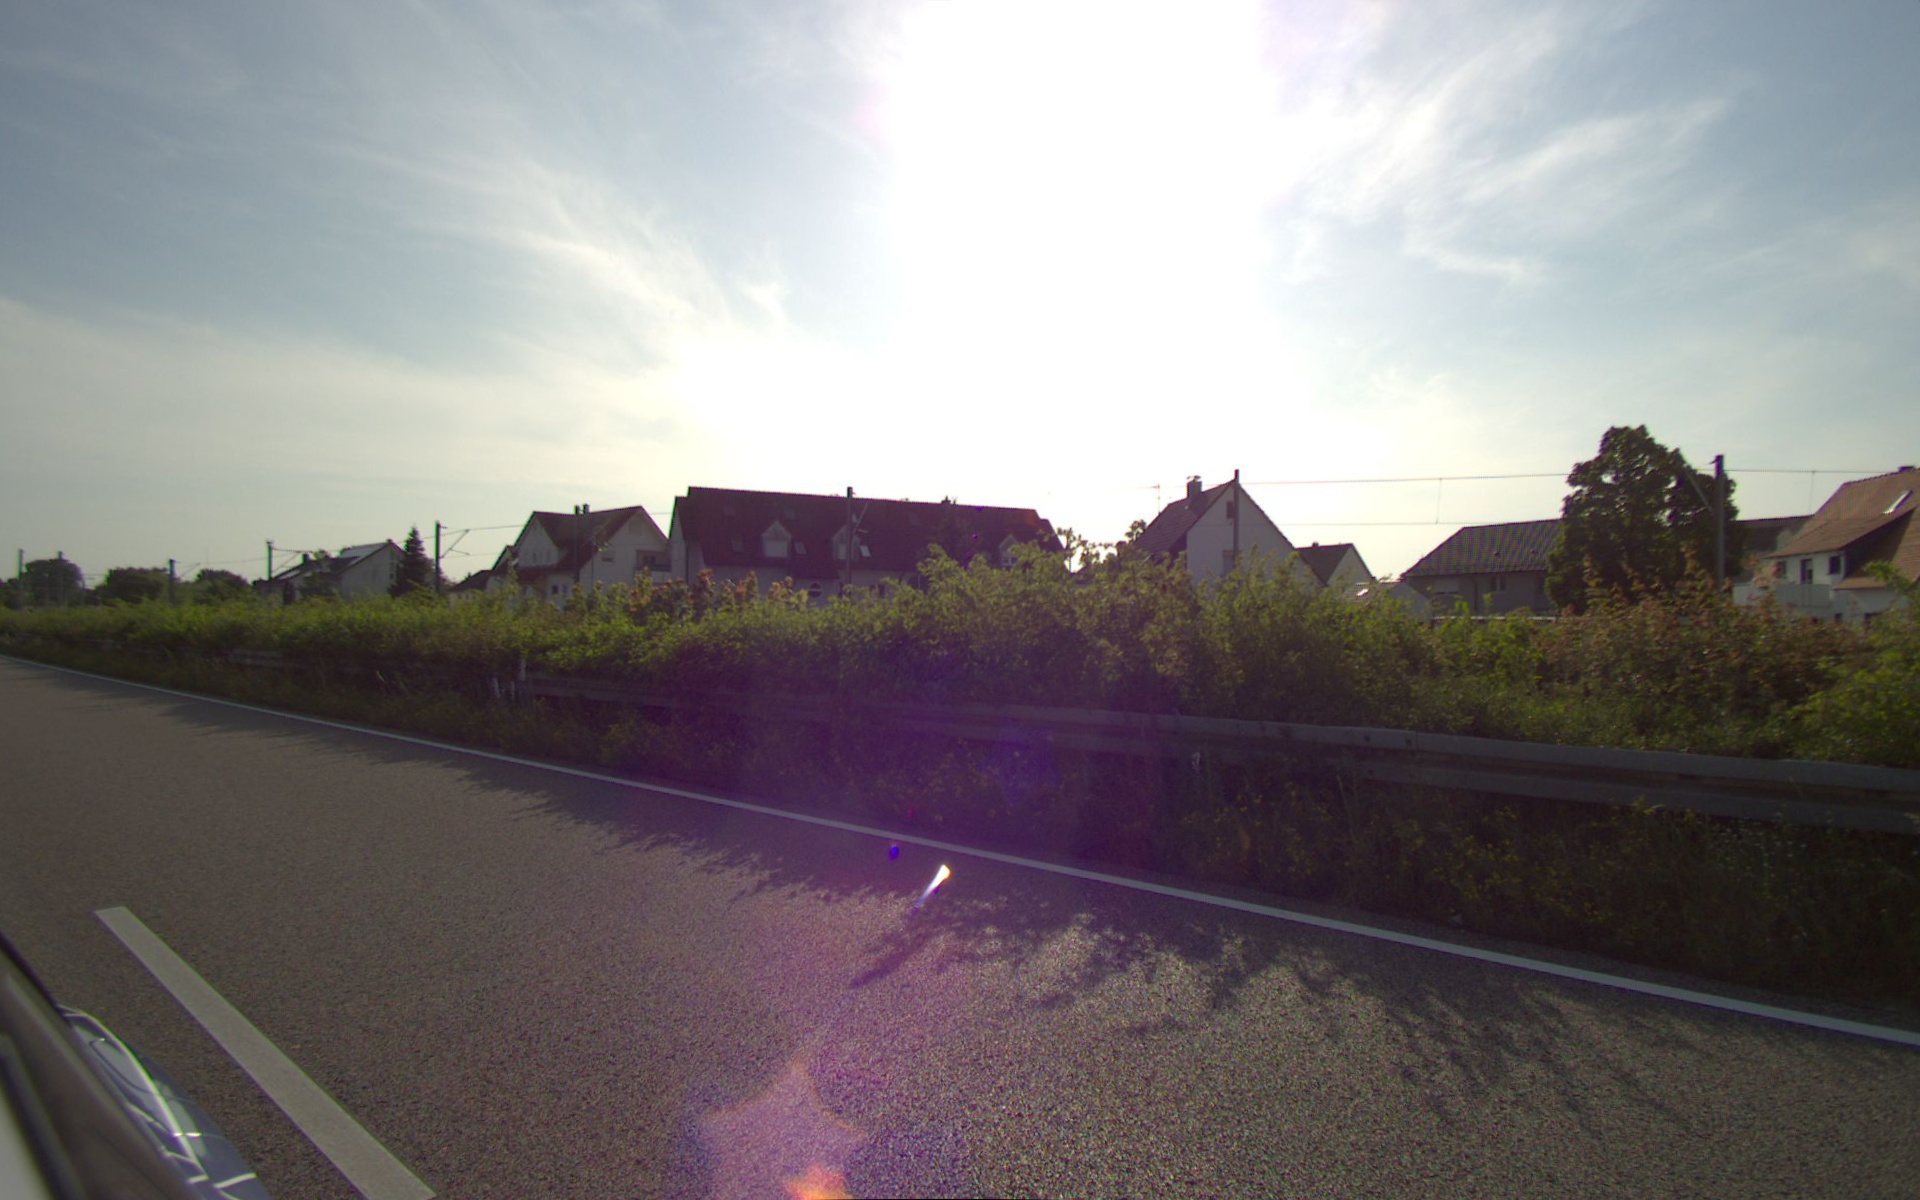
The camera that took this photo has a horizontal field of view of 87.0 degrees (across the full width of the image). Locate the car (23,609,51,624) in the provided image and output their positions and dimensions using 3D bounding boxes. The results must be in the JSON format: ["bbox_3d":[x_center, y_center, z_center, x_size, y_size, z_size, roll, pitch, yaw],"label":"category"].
[{"bbox_3d":[-109.359,1.952,119.896,3.998,1.763,1.973,-1,0,41],"label":"car"}]
